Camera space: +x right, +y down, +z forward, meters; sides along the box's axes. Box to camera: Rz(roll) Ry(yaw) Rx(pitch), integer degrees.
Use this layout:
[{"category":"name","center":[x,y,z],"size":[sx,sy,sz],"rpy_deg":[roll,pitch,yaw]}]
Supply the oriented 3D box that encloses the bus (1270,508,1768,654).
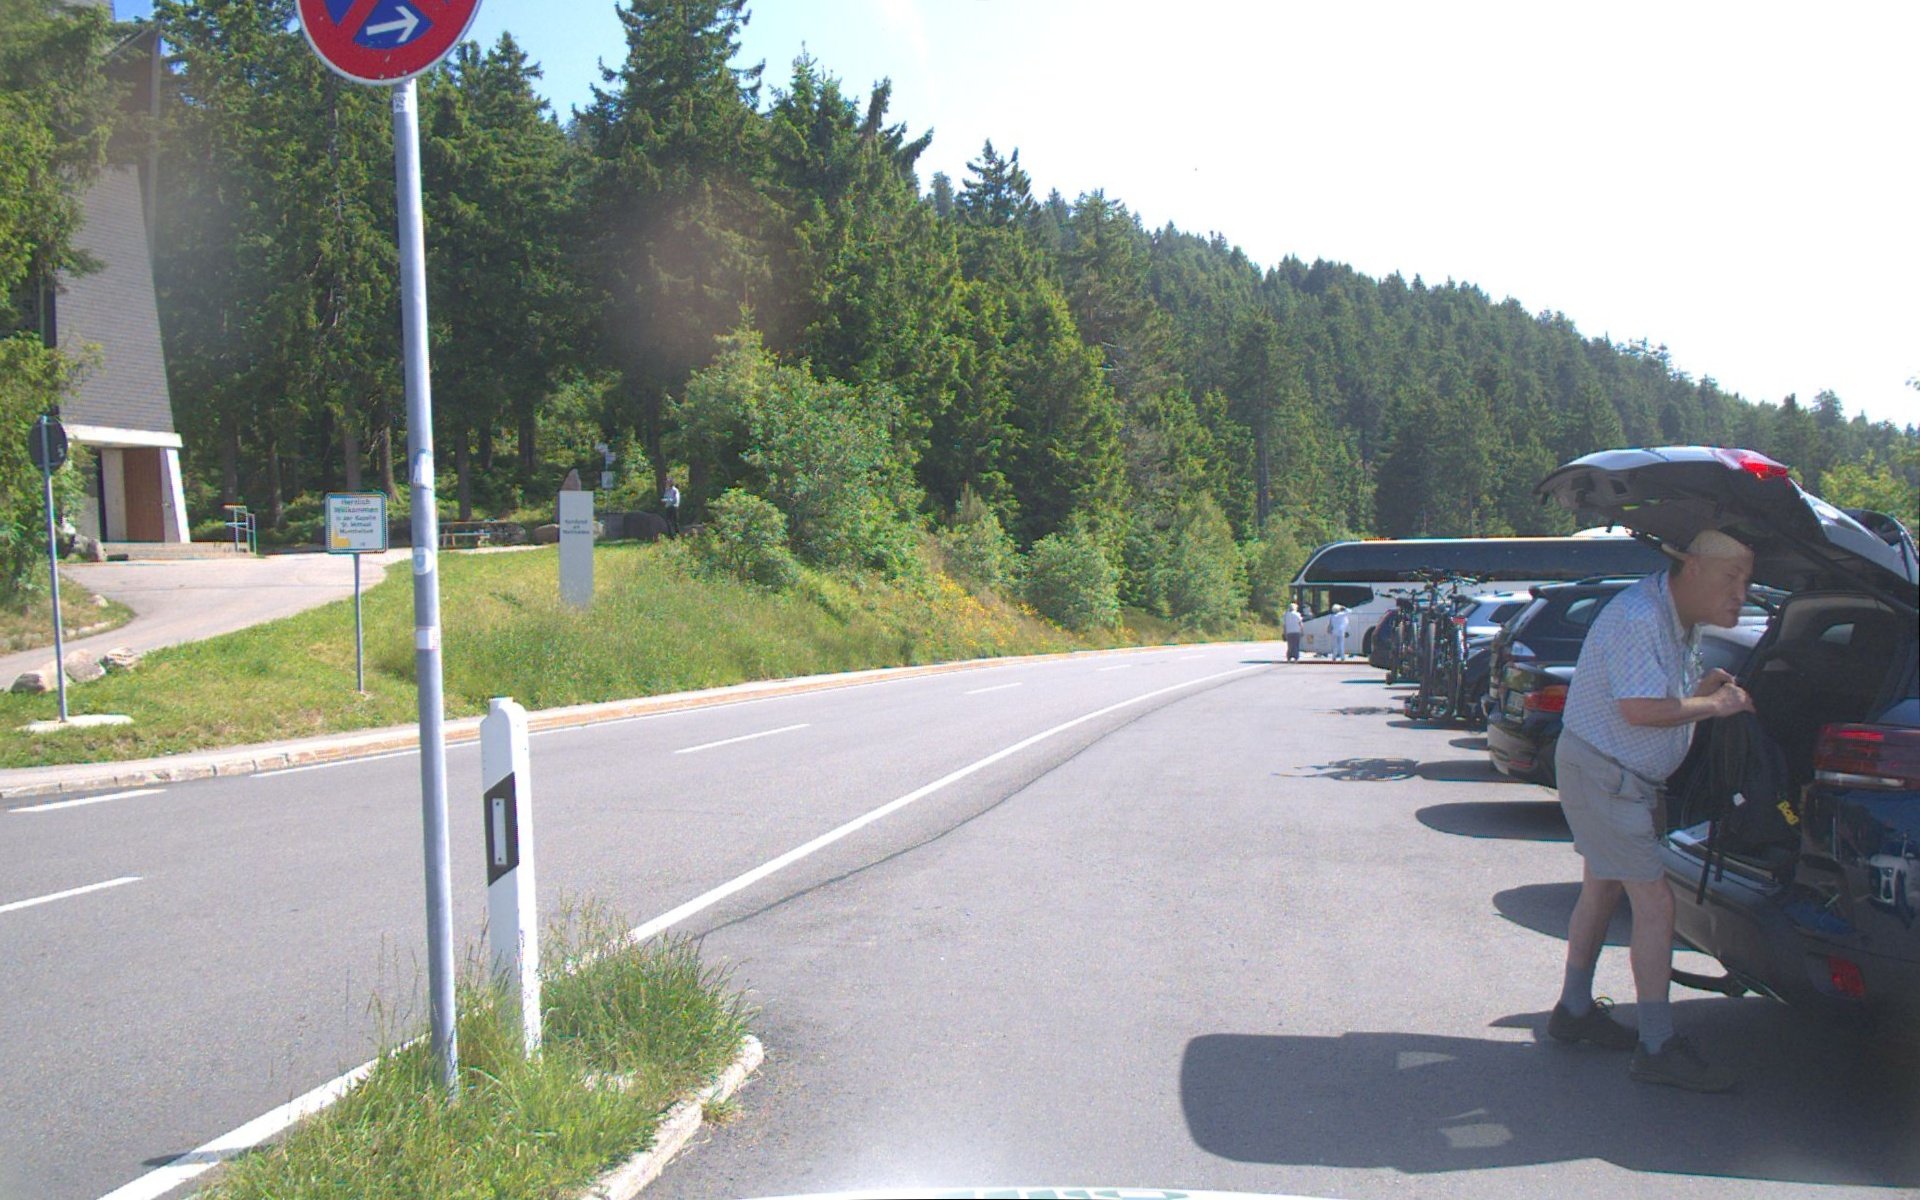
[{"category":"bus","center":[15.470,-0.405,46.581],"size":[12.828,3.594,3.043],"rpy_deg":[-2,-1,23]}]

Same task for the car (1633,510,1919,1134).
[{"category":"car","center":[4.575,0.684,5.101],"size":[4.252,1.654,1.871],"rpy_deg":[2,-1,7]}]

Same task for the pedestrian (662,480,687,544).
[{"category":"pedestrian","center":[-8.750,-2.695,50.692],"size":[0.668,1.910,0.540],"rpy_deg":[-2,-1,-11]}]

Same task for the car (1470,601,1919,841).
[{"category":"car","center":[5.595,0.753,10.913],"size":[3.995,1.400,1.703],"rpy_deg":[1,0,6]}]

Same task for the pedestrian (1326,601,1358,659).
[{"category":"pedestrian","center":[10.691,0.836,46.284],"size":[0.754,1.613,0.772],"rpy_deg":[-2,-1,19]}]

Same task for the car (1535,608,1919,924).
[{"category":"car","center":[5.175,0.785,8.311],"size":[3.996,1.400,1.703],"rpy_deg":[1,0,3]}]

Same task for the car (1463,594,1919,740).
[{"category":"car","center":[7.219,0.644,16.330],"size":[4.153,1.291,1.839],"rpy_deg":[-2,0,13]}]

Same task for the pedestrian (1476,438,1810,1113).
[{"category":"pedestrian","center":[2.137,0.477,5.175],"size":[0.724,1.903,0.753],"rpy_deg":[2,3,43]}]

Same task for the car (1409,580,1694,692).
[{"category":"car","center":[8.967,0.550,25.383],"size":[3.902,1.581,1.661],"rpy_deg":[-2,0,13]}]

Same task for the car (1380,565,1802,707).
[{"category":"car","center":[8.154,0.480,21.895],"size":[4.926,1.680,2.049],"rpy_deg":[-2,0,13]}]

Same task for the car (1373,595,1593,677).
[{"category":"car","center":[10.113,0.689,32.247],"size":[3.902,1.474,1.863],"rpy_deg":[-2,0,13]}]

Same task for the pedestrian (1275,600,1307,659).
[{"category":"pedestrian","center":[9.355,0.828,46.740],"size":[0.754,1.613,0.772],"rpy_deg":[-2,-1,19]}]

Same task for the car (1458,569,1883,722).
[{"category":"car","center":[7.950,0.519,18.913],"size":[4.153,1.581,1.839],"rpy_deg":[-2,0,13]}]

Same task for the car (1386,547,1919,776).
[{"category":"car","center":[6.081,0.488,13.806],"size":[4.844,1.725,1.946],"rpy_deg":[-1,0,15]}]

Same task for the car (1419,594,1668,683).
[{"category":"car","center":[10.094,0.670,28.892],"size":[3.902,1.423,1.621],"rpy_deg":[-2,0,13]}]
